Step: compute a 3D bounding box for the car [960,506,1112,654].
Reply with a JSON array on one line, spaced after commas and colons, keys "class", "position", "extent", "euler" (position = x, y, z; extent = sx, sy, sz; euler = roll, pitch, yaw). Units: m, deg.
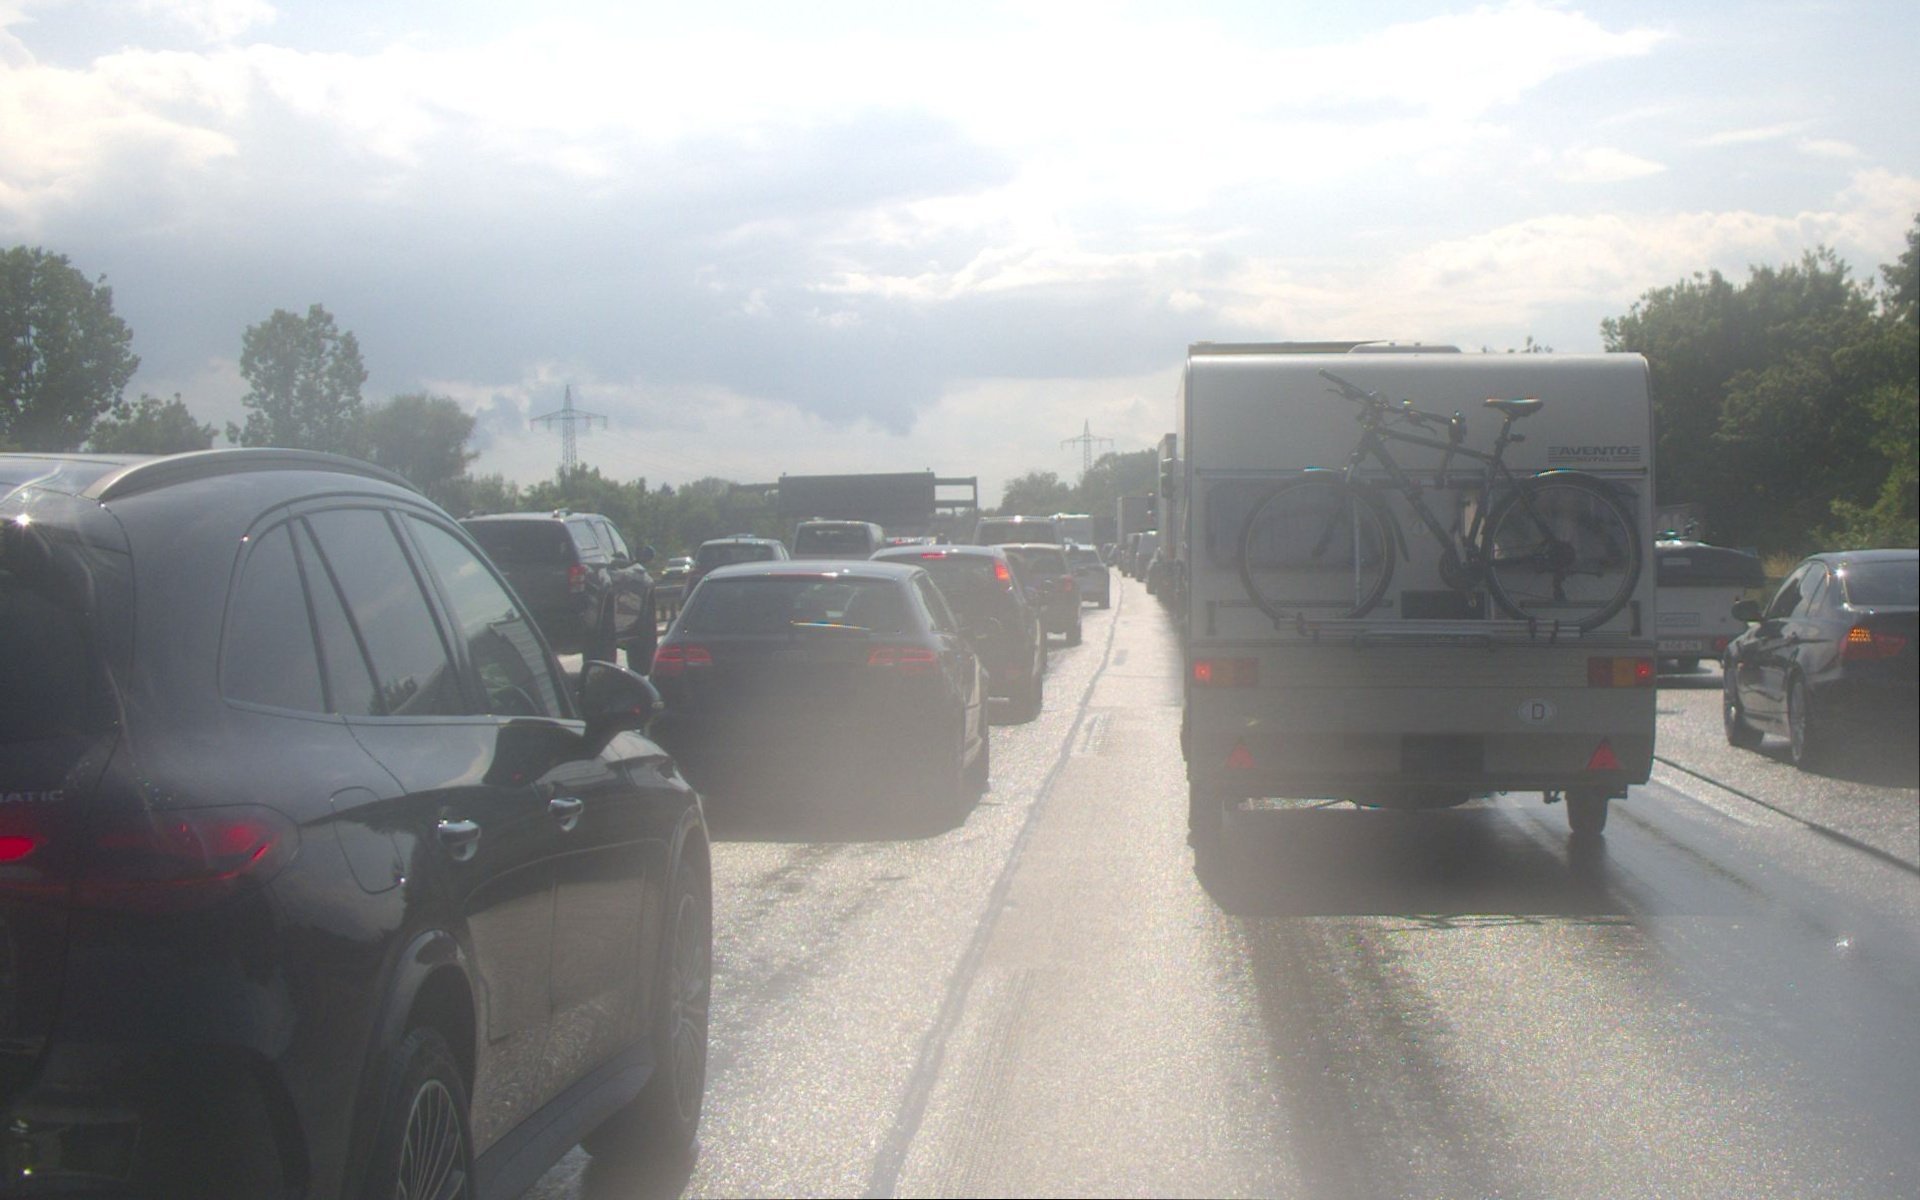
[{"class": "car", "position": [1.179, -0.324, 51.470], "extent": [1.994, 2.007, 4.000], "euler": [3, 1, 4]}]

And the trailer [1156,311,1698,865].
[{"class": "trailer", "position": [2.283, -0.104, 18.753], "extent": [2.374, 2.475, 6.522], "euler": [0, 1, 3]}]

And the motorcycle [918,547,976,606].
[{"class": "motorcycle", "position": [-0.274, -0.519, 75.653], "extent": [1.074, 1.267, 2.690], "euler": [0, 1, 4]}]

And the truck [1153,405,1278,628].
[{"class": "truck", "position": [5.746, -1.870, 78.230], "extent": [2.502, 4.813, 7.543], "euler": [0, 1, 2]}]

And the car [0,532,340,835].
[{"class": "car", "position": [-4.885, 0.382, 19.339], "extent": [1.757, 1.511, 4.208], "euler": [0, 1, 4]}]

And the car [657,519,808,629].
[{"class": "car", "position": [-3.771, -0.453, 57.695], "extent": [1.994, 1.766, 4.000], "euler": [0, 1, 4]}]

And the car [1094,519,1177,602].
[{"class": "car", "position": [4.467, -1.018, 87.088], "extent": [1.994, 2.007, 4.000], "euler": [1, 1, 4]}]

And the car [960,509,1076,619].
[{"class": "car", "position": [1.130, -0.699, 64.992], "extent": [1.994, 2.007, 4.000], "euler": [0, 1, 4]}]

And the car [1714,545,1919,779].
[{"class": "car", "position": [6.246, 0.351, 22.995], "extent": [1.740, 1.415, 3.835], "euler": [0, 1, 3]}]

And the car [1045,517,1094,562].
[{"class": "car", "position": [4.392, -2.425, 138.518], "extent": [1.876, 1.754, 4.000], "euler": [0, 1, 0]}]

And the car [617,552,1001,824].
[{"class": "car", "position": [-0.761, 0.432, 19.773], "extent": [1.757, 1.382, 3.944], "euler": [0, 1, 4]}]

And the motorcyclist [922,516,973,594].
[{"class": "motorcyclist", "position": [-0.273, -0.991, 75.698], "extent": [1.064, 1.712, 0.785], "euler": [0, 1, 4]}]

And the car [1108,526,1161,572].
[{"class": "car", "position": [6.783, -1.986, 133.767], "extent": [1.876, 1.754, 4.000], "euler": [0, 1, 0]}]

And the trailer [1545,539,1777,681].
[{"class": "trailer", "position": [7.523, 0.071, 37.243], "extent": [1.855, 1.437, 4.147], "euler": [0, 1, 3]}]

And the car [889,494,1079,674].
[{"class": "car", "position": [0.342, -0.218, 40.616], "extent": [1.994, 2.007, 4.000], "euler": [1, 1, 4]}]

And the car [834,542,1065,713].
[{"class": "car", "position": [-0.026, 0.200, 30.609], "extent": [1.806, 1.402, 4.000], "euler": [0, 1, 3]}]

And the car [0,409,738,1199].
[{"class": "car", "position": [-1.710, 0.562, 6.551], "extent": [1.994, 1.656, 4.405], "euler": [0, 1, 4]}]

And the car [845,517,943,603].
[{"class": "car", "position": [-1.553, -0.966, 82.514], "extent": [1.994, 2.007, 4.000], "euler": [0, 1, 4]}]

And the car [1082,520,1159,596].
[{"class": "car", "position": [4.616, -1.211, 98.549], "extent": [1.994, 2.007, 4.000], "euler": [3, 1, 4]}]

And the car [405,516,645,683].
[{"class": "car", "position": [-4.671, -0.035, 37.460], "extent": [1.993, 1.714, 4.000], "euler": [0, 1, 2]}]

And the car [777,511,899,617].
[{"class": "car", "position": [-2.476, -0.751, 70.626], "extent": [1.994, 2.007, 4.000], "euler": [3, 1, 4]}]

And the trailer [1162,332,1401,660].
[{"class": "trailer", "position": [4.468, -1.387, 47.917], "extent": [3.007, 4.152, 8.534], "euler": [0, 1, 5]}]

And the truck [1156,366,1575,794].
[{"class": "truck", "position": [2.516, -0.159, 22.859], "extent": [2.374, 2.468, 5.756], "euler": [0, 1, 3]}]

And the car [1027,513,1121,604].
[{"class": "car", "position": [2.630, -0.965, 78.656], "extent": [1.994, 2.007, 4.000], "euler": [1, 1, 4]}]
